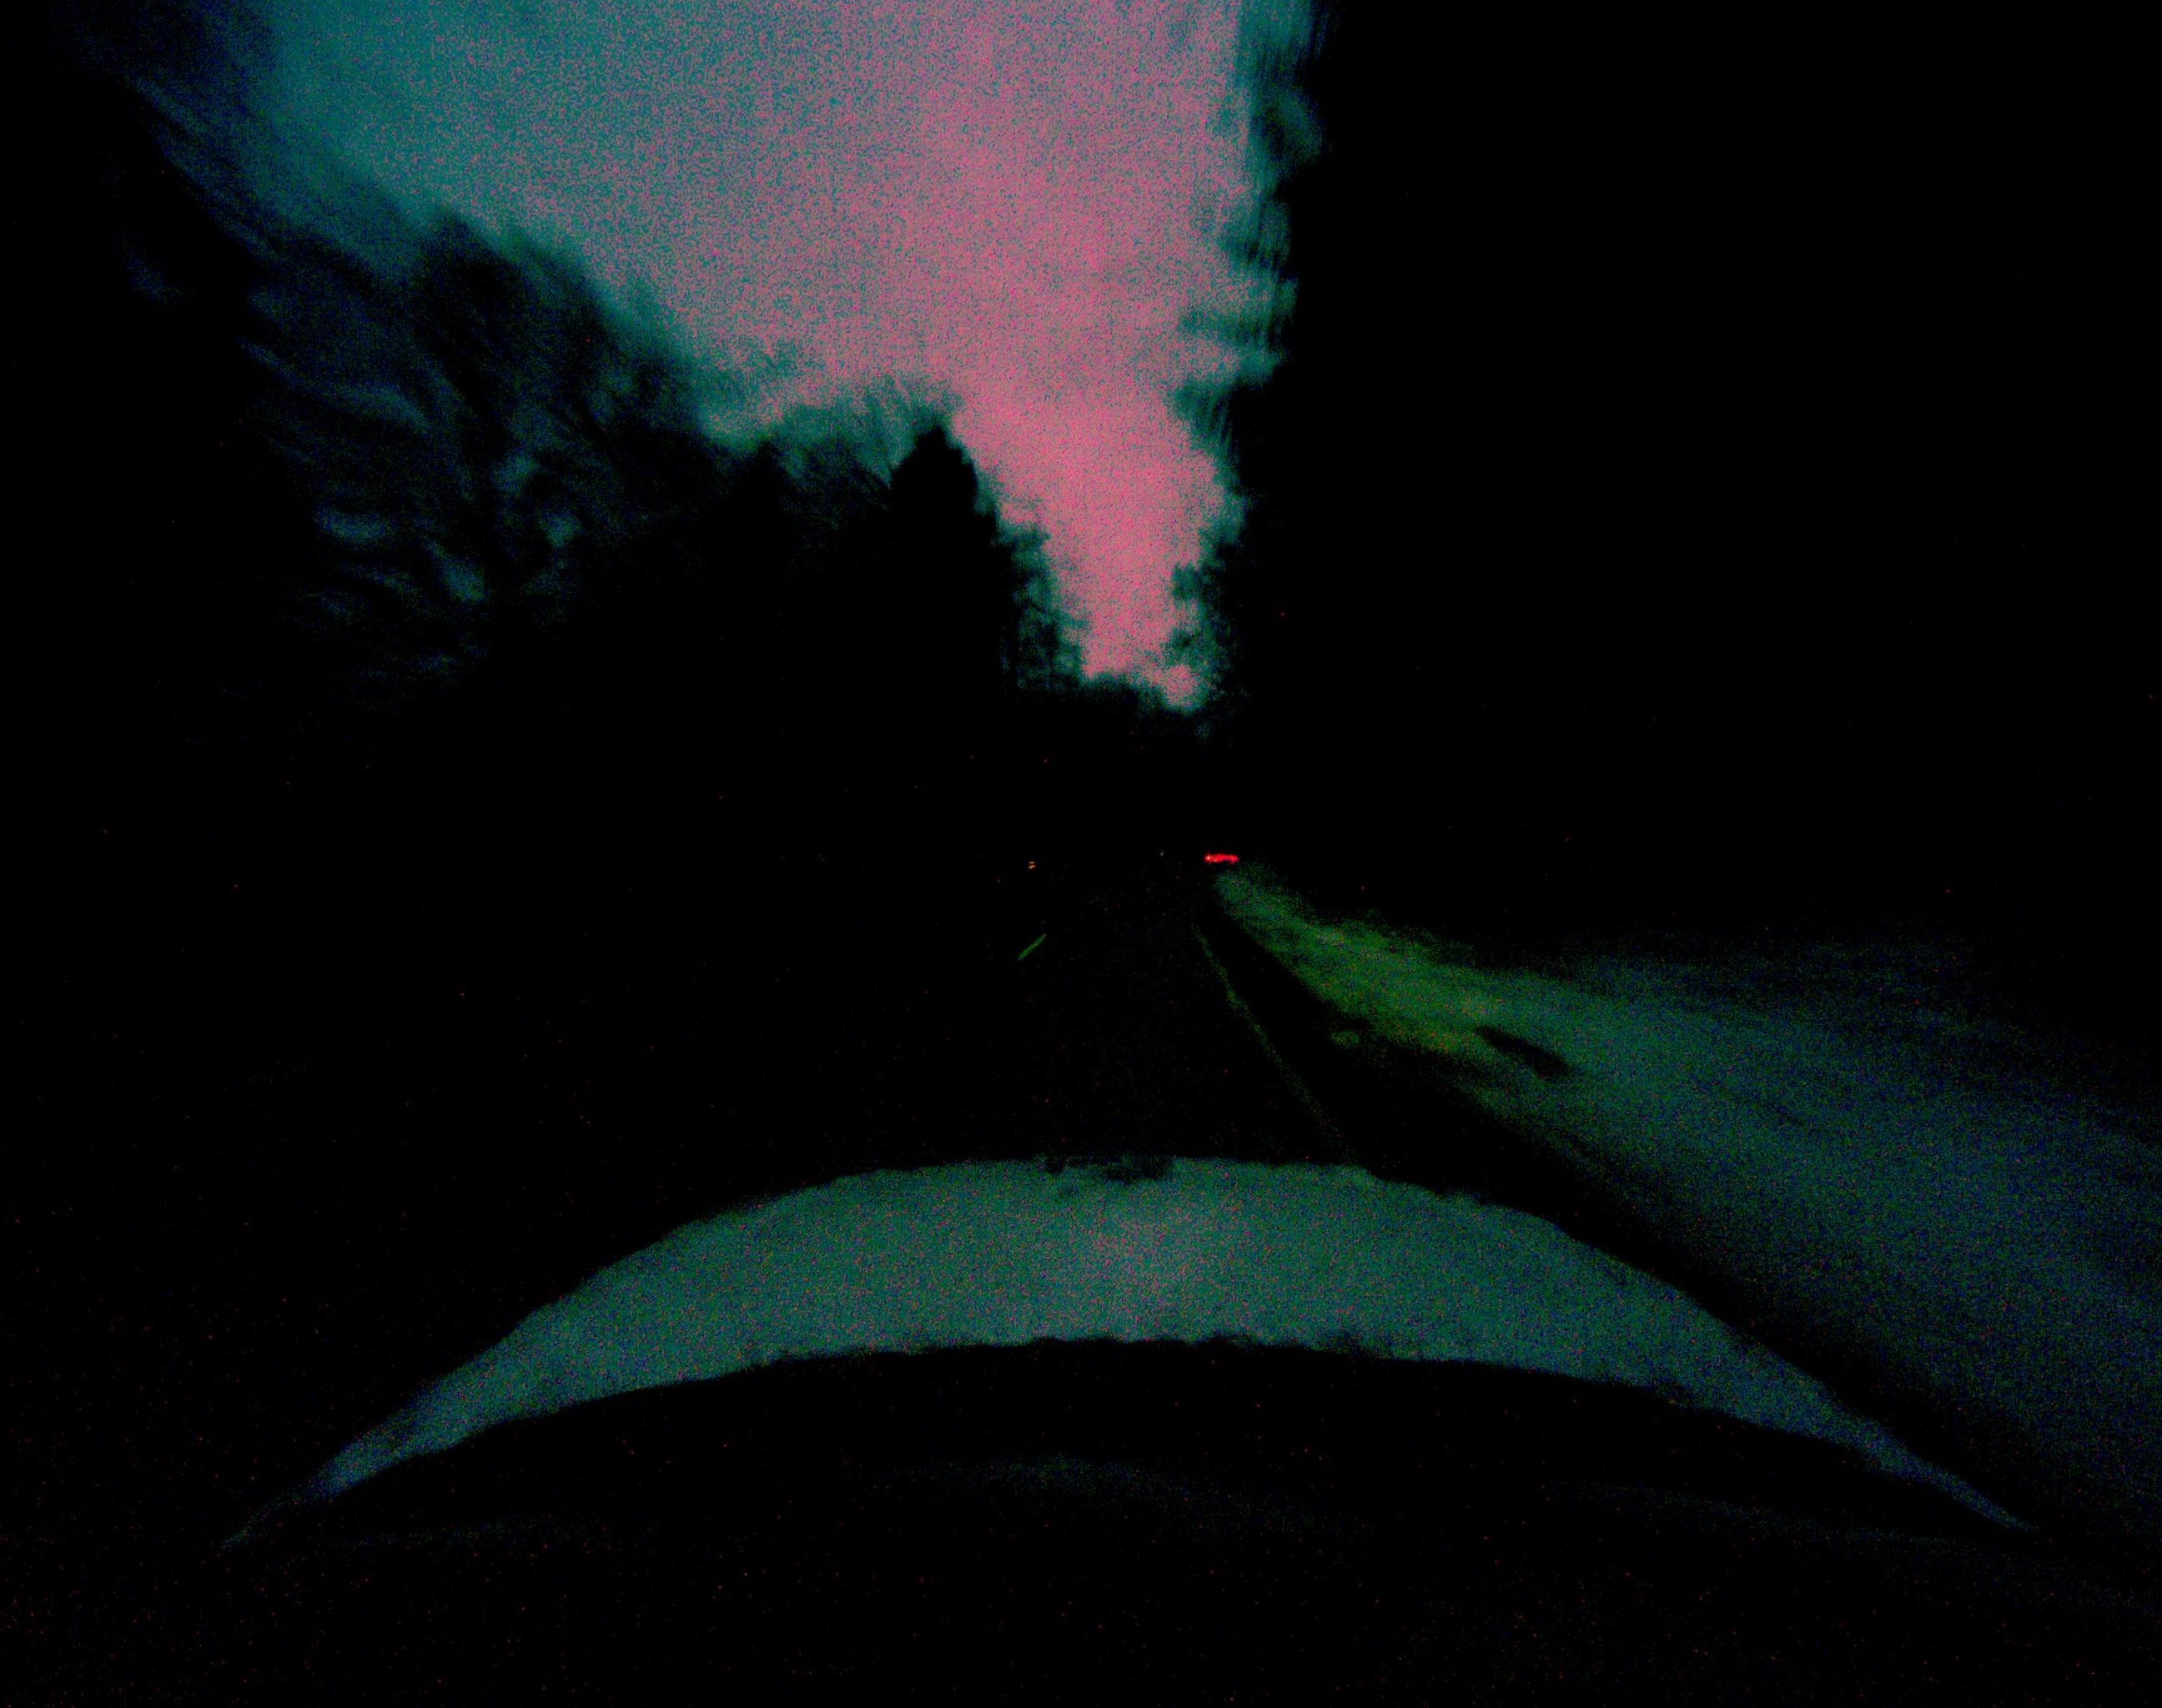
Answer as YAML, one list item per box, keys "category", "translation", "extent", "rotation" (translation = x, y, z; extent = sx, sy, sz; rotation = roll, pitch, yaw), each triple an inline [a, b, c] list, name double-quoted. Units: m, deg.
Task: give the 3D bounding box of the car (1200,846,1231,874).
- category: "car"
  translation: [9.971, 0.399, 60.096]
  extent: [1.980, 1.872, 4.014]
  rotation: [-3, 0, 12]
